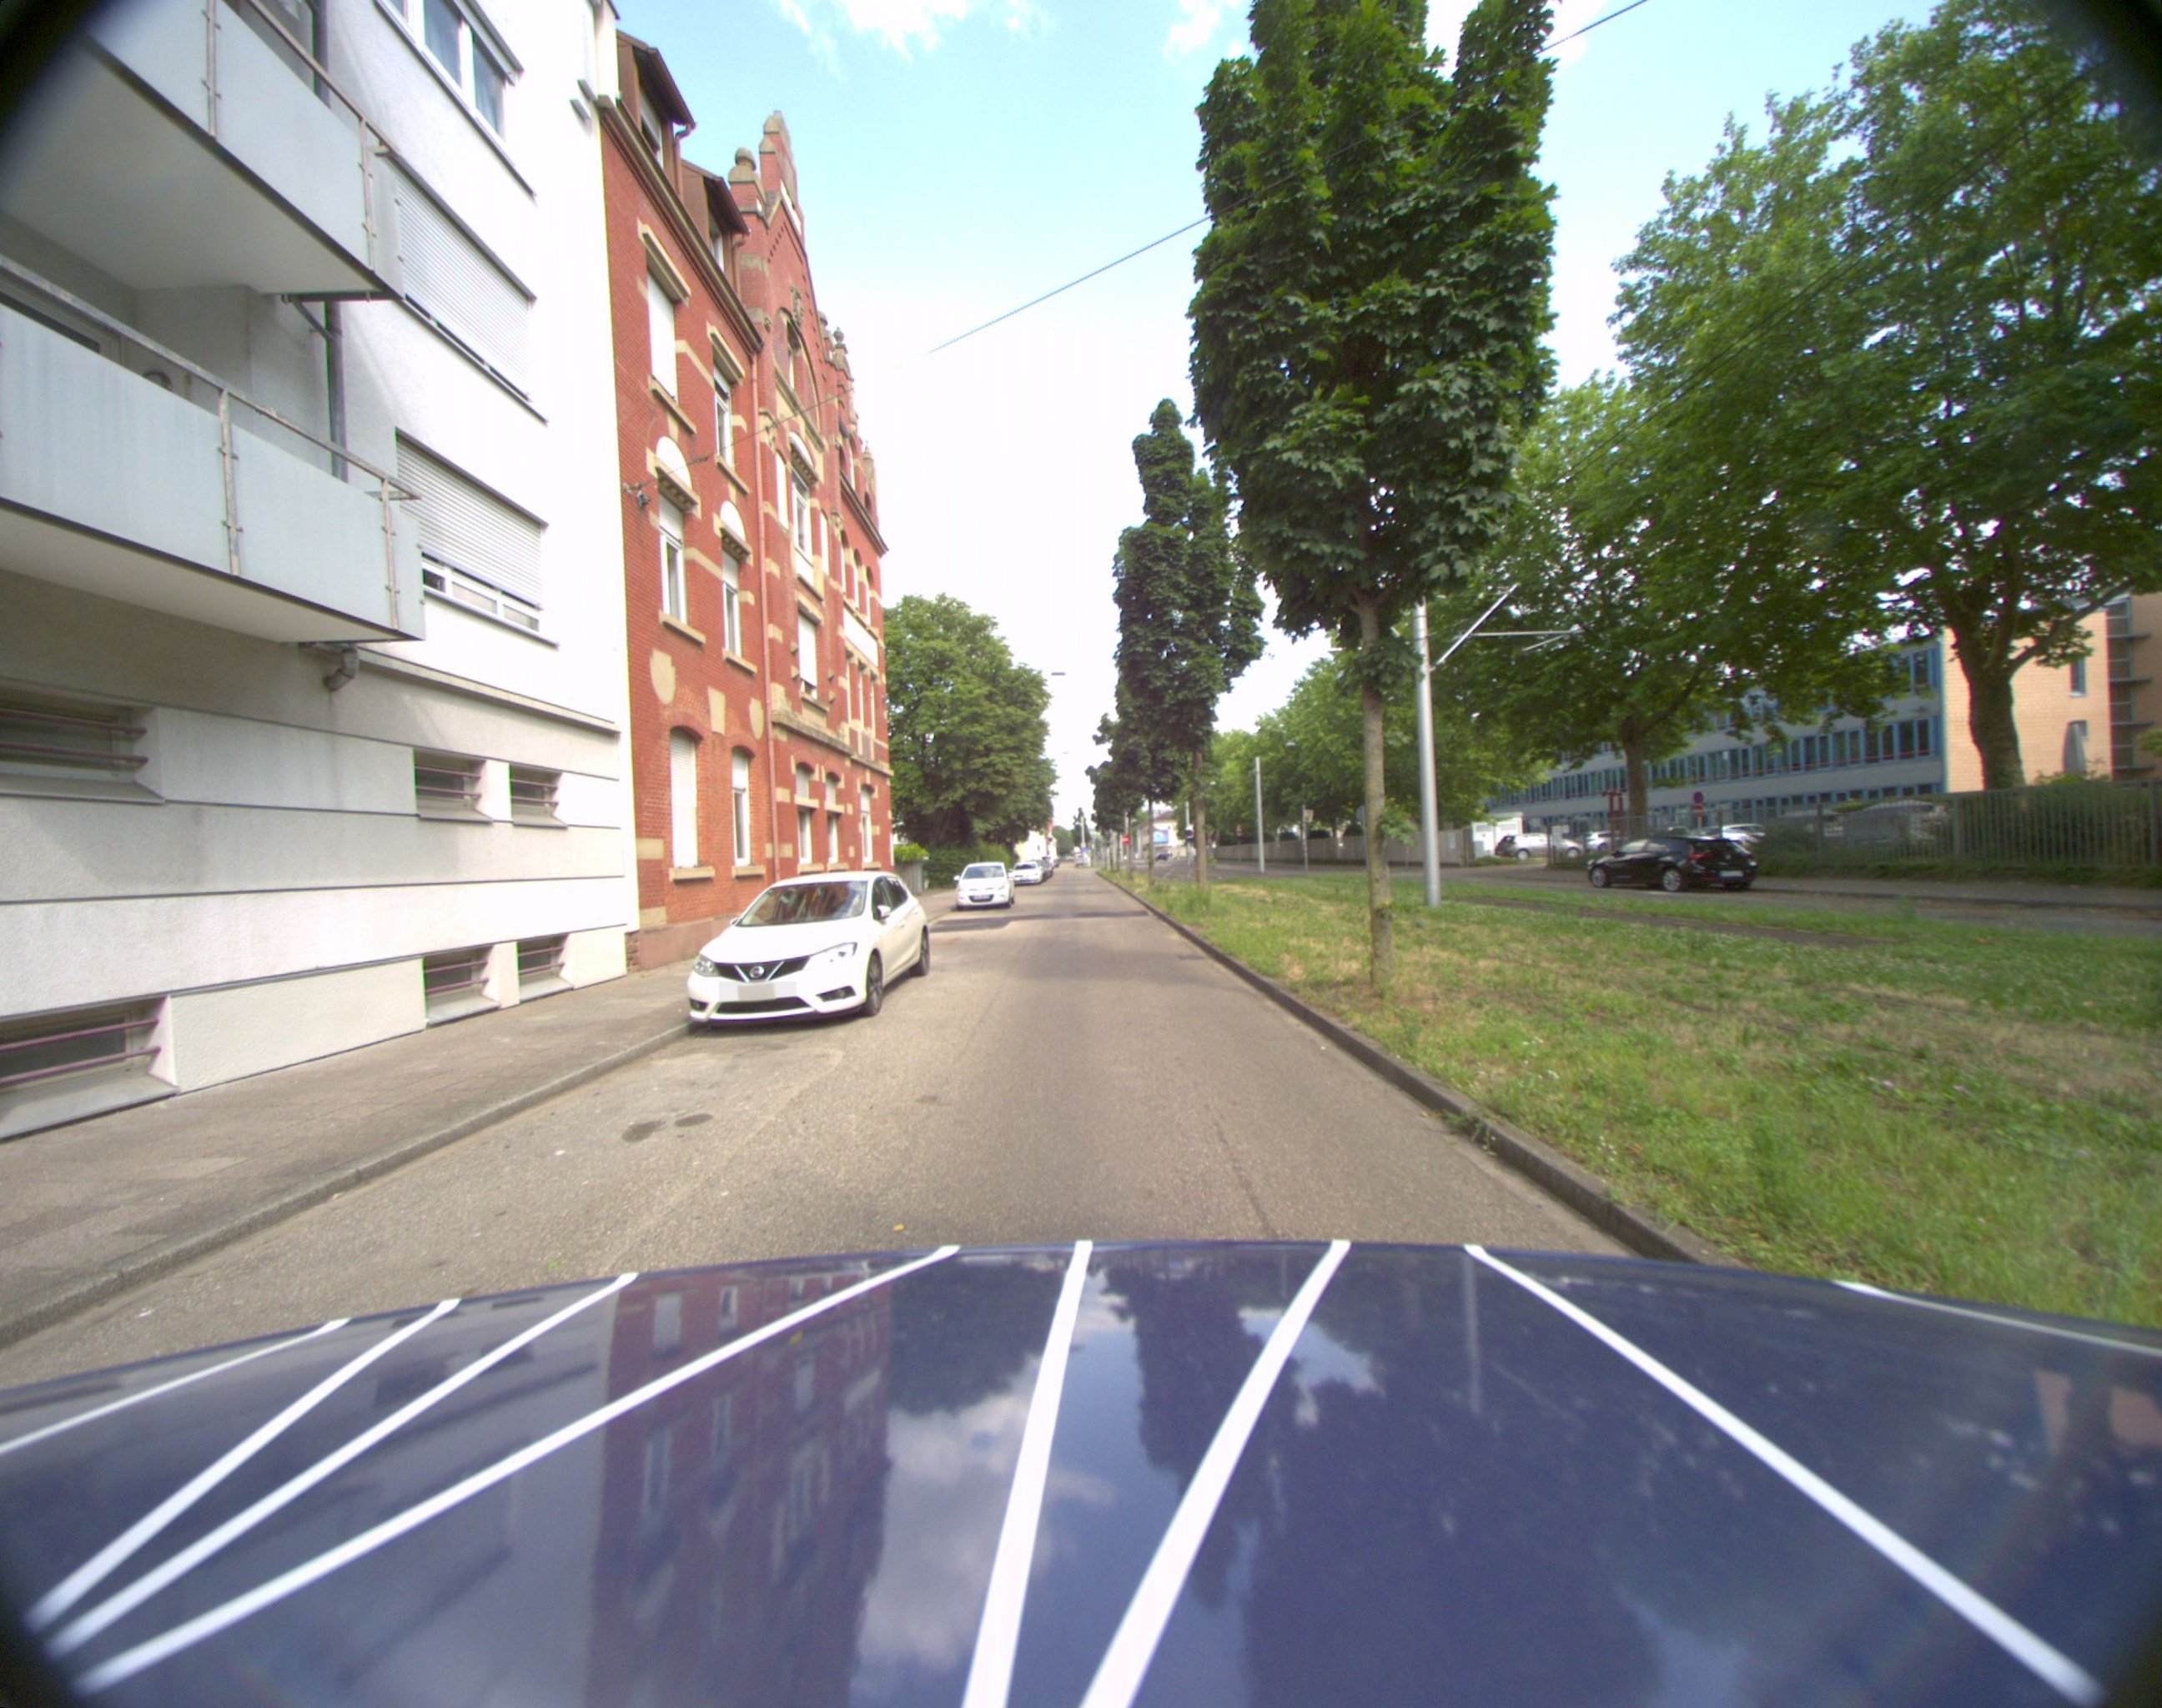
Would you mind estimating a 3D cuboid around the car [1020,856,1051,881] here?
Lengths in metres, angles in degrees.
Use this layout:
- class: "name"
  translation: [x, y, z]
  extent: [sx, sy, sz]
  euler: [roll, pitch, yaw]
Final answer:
- class: "car"
  translation: [-3.152, 0.961, 52.989]
  extent: [1.801, 1.521, 4.040]
  euler: [-5, 0, 0]

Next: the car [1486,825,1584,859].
- class: "car"
  translation: [24.018, -0.638, 40.305]
  extent: [3.997, 1.608, 1.999]
  euler: [-2, 1, -2]

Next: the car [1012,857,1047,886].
- class: "car"
  translation: [-3.121, 1.033, 46.756]
  extent: [1.801, 1.521, 4.040]
  euler: [-5, 0, 0]

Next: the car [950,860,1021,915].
- class: "car"
  translation: [-3.072, 1.037, 25.238]
  extent: [1.801, 1.521, 4.040]
  euler: [-4, 0, 0]

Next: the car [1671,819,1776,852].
- class: "car"
  translation: [34.571, -1.001, 40.952]
  extent: [3.997, 1.608, 1.999]
  euler: [-2, 1, -2]

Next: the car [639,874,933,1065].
- class: "car"
  translation: [-3.058, 1.096, 8.901]
  extent: [1.801, 1.521, 4.040]
  euler: [-3, 0, 0]

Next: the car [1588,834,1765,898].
- class: "car"
  translation: [15.559, 0.273, 20.146]
  extent: [1.601, 1.455, 4.000]
  euler: [-3, 0, 2]

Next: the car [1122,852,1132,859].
- class: "car"
  translation: [10.718, 0.259, 177.491]
  extent: [1.801, 1.521, 4.040]
  euler: [-4, 0, 0]

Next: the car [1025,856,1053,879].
- class: "car"
  translation: [-3.189, 1.008, 58.449]
  extent: [1.801, 1.521, 4.040]
  euler: [-5, 0, 0]

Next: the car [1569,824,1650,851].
- class: "car"
  translation: [35.389, -1.101, 50.941]
  extent: [3.997, 1.608, 1.999]
  euler: [-2, 1, -2]

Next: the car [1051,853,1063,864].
- class: "car"
  translation: [-3.826, 0.735, 121.935]
  extent: [1.801, 1.521, 4.040]
  euler: [-5, 0, 0]

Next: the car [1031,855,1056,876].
- class: "car"
  translation: [-3.121, 0.967, 63.863]
  extent: [1.801, 1.521, 4.040]
  euler: [-5, 0, 0]
